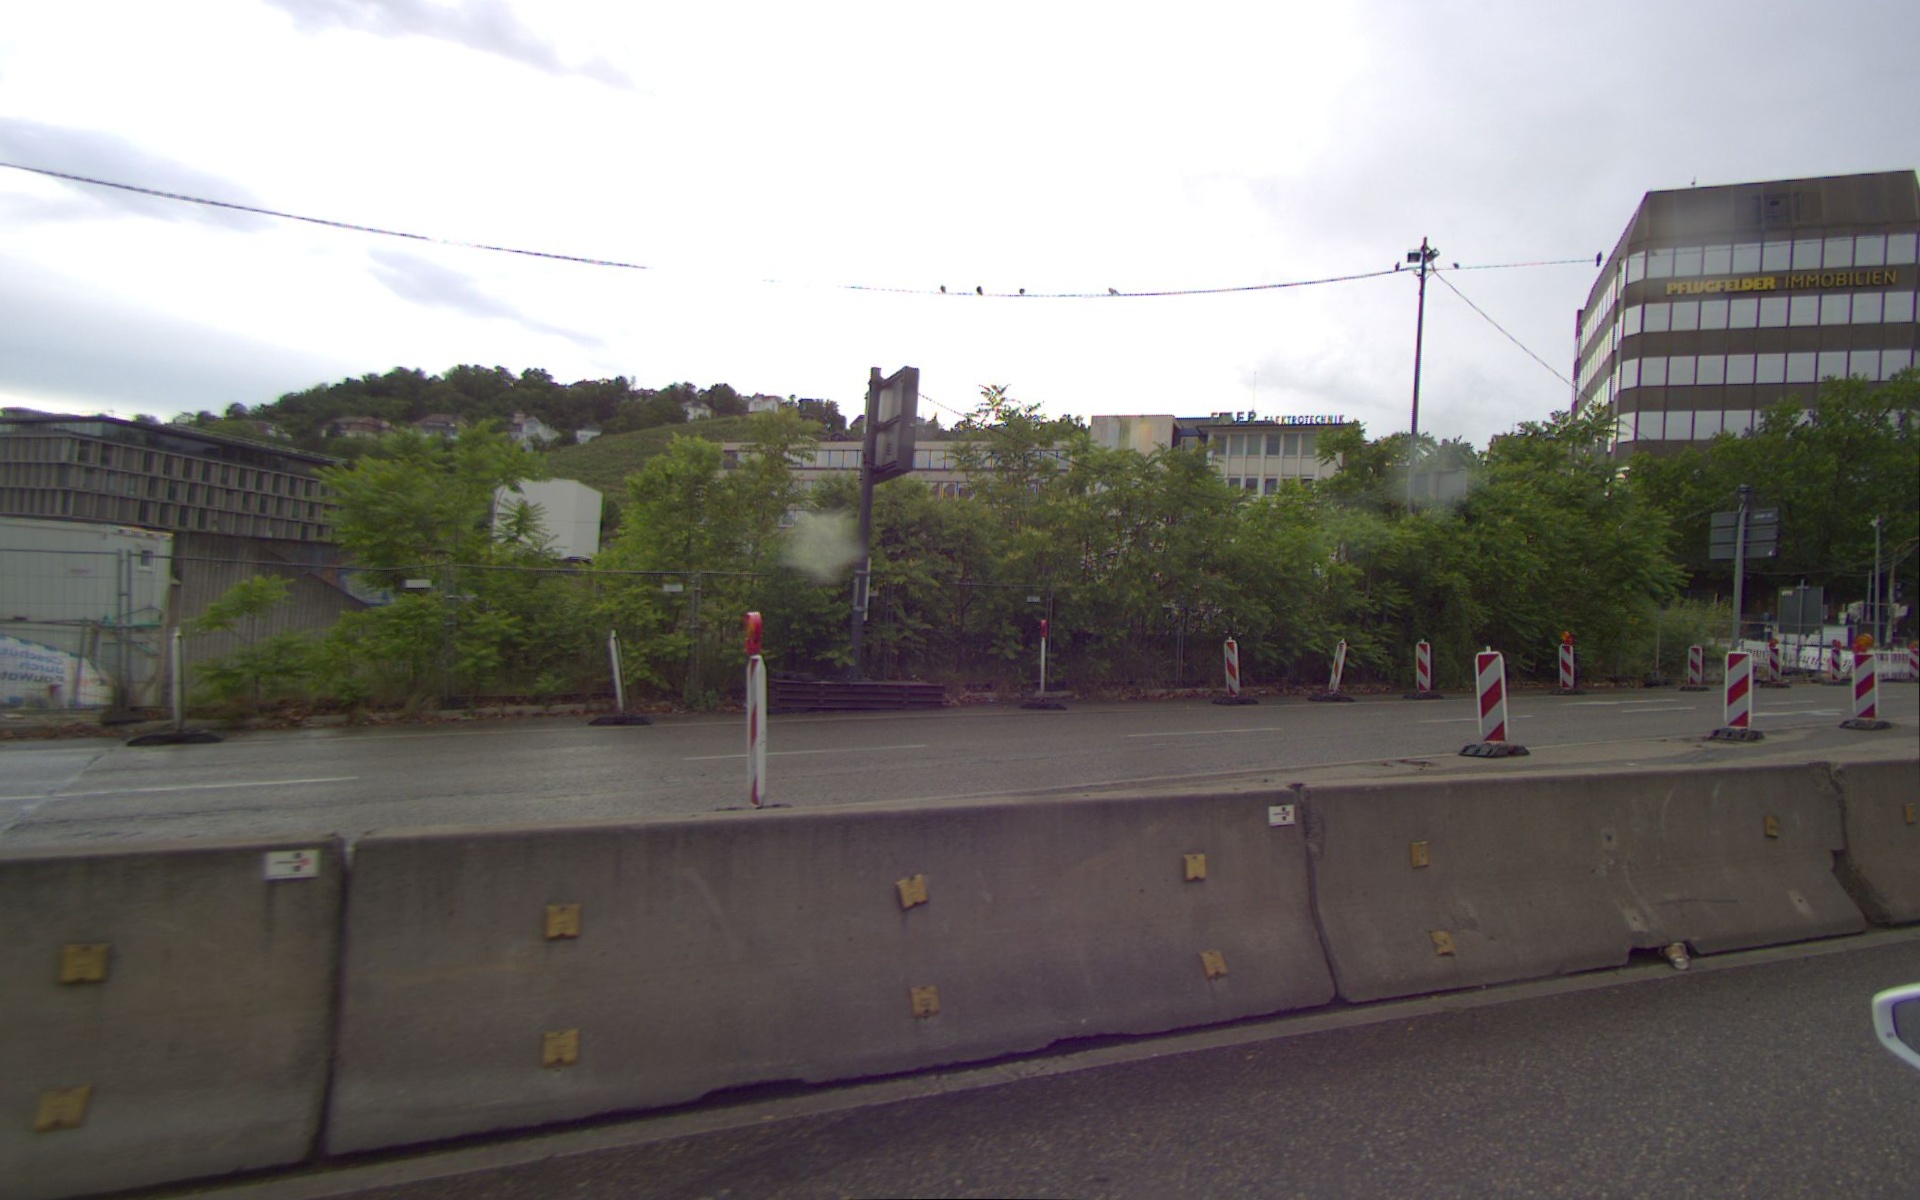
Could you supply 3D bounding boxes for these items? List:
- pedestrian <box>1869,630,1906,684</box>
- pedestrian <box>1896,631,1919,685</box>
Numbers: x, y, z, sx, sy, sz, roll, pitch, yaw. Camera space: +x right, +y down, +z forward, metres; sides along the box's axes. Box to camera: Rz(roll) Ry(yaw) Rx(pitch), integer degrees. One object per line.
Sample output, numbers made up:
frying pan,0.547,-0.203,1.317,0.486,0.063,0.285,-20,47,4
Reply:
pedestrian,34.314,2.107,37.162,0.733,1.947,0.758,4,-2,-28
pedestrian,34.668,2.116,36.522,0.766,1.926,0.669,4,-2,-28
